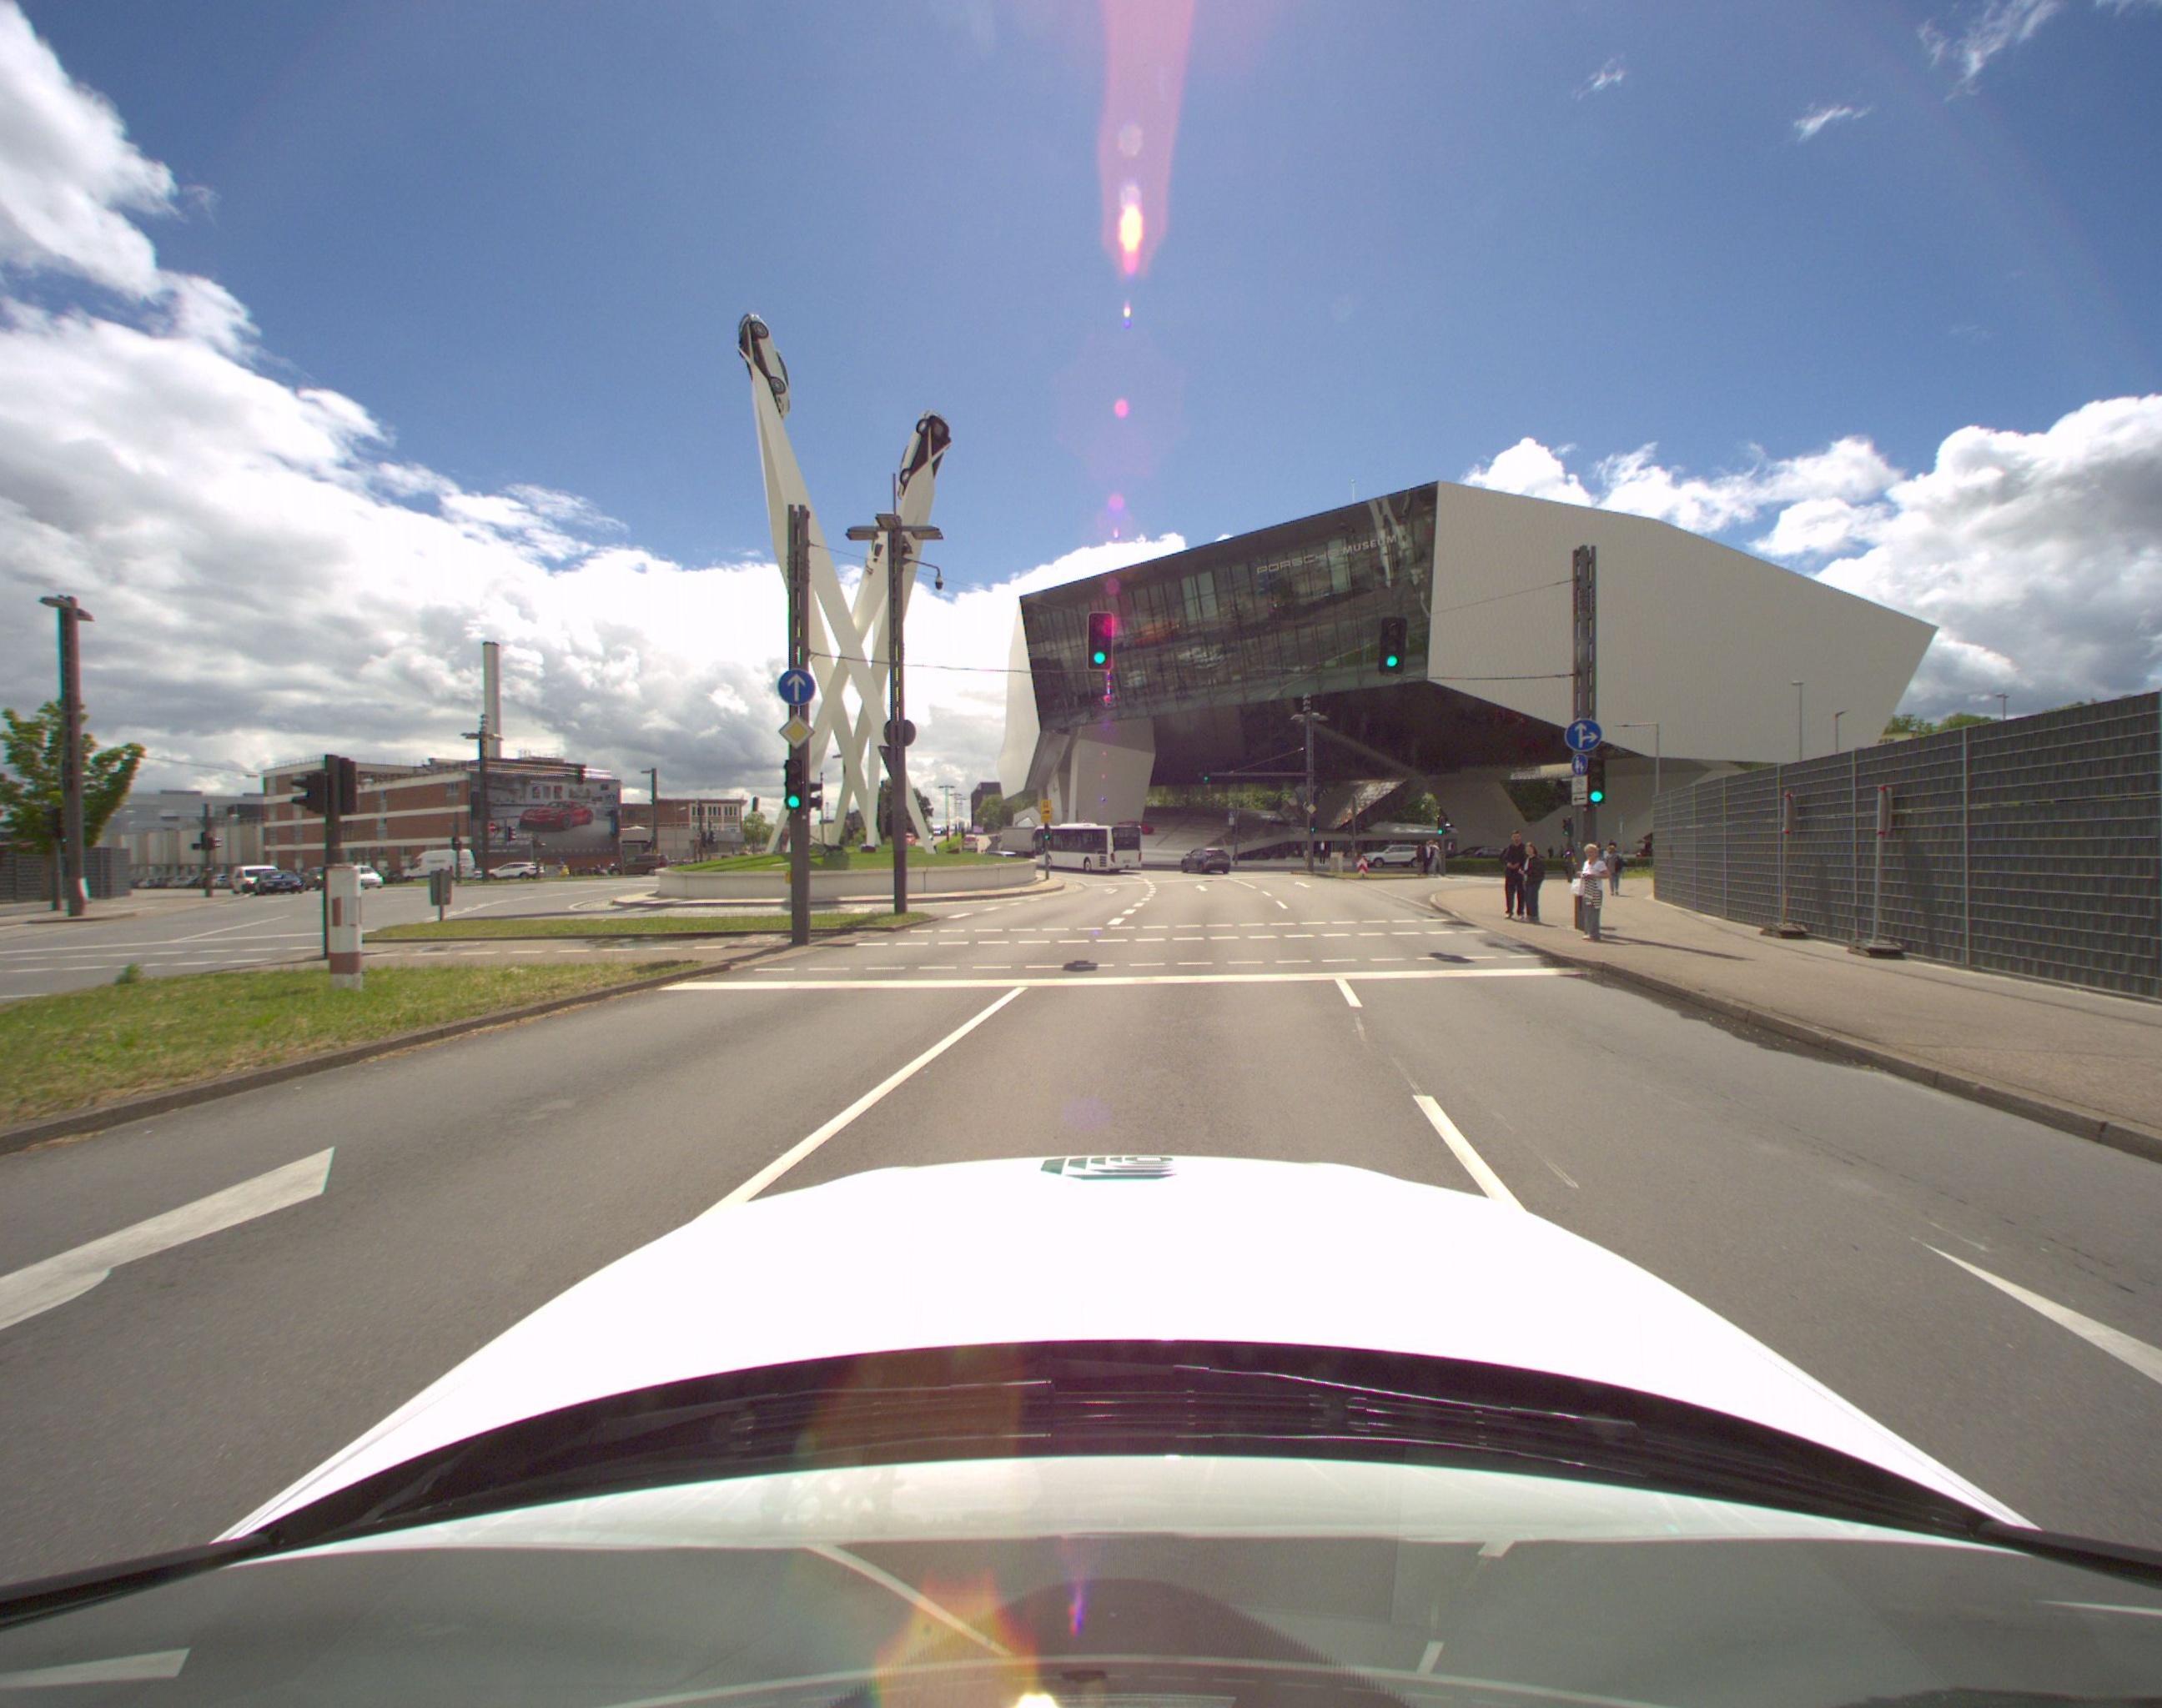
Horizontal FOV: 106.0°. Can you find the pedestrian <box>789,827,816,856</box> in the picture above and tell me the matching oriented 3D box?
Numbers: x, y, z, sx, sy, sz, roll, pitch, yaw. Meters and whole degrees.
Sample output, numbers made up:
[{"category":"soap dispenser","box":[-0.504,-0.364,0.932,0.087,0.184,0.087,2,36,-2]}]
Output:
[{"category":"pedestrian","box":[-14.578,-0.641,42.680,0.846,1.407,0.969,-7,-3,15]}]

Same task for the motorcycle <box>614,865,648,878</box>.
[{"category":"motorcycle","box":[-43.172,1.670,78.144,2.884,1.196,0.923,0,-1,11]}]

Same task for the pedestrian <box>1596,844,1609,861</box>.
[{"category":"pedestrian","box":[53.331,-0.162,83.279,0.829,1.739,0.770,1,-1,-26]}]

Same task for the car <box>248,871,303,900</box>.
[{"category":"car","box":[-46.954,1.817,47.470,3.907,1.556,1.814,0,-1,39]}]

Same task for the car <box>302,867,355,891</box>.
[{"category":"car","box":[-52.128,1.693,56.378,4.170,1.556,1.837,0,-1,35]}]

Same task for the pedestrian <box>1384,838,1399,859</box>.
[{"category":"pedestrian","box":[27.552,-0.506,72.255,0.829,1.826,0.918,1,-1,-16]}]

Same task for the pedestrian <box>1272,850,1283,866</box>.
[{"category":"pedestrian","box":[19.560,0.399,81.016,0.913,1.573,0.834,0,-1,19]}]

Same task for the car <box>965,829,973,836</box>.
[{"category":"car","box":[-29.213,-5.652,212.831,1.991,1.635,4.647,1,1,-5]}]

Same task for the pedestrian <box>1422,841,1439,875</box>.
[{"category":"pedestrian","box":[18.404,0.217,42.919,0.664,1.795,0.624,0,-1,39]}]

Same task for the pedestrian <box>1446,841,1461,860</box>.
[{"category":"pedestrian","box":[32.744,-0.308,71.626,0.829,1.676,0.918,1,-1,-16]}]

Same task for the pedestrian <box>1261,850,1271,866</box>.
[{"category":"pedestrian","box":[18.747,0.410,82.459,0.821,1.573,0.928,0,-1,20]}]

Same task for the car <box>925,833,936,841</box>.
[{"category":"car","box":[-29.275,-3.313,158.170,1.753,1.397,4.665,1,3,-6]}]

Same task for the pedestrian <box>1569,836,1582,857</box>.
[{"category":"pedestrian","box":[49.093,-0.750,80.908,0.829,2.014,0.770,1,-1,-26]}]

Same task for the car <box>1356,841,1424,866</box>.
[{"category":"car","box":[21.276,-0.031,56.143,3.975,1.550,1.837,-2,-1,-1]}]

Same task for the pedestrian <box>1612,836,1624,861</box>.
[{"category":"pedestrian","box":[44.269,-0.463,67.112,0.767,2.014,0.833,0,-1,31]}]

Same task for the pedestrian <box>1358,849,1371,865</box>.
[{"category":"pedestrian","box":[28.075,0.340,80.667,0.828,1.573,0.920,1,-1,-10]}]

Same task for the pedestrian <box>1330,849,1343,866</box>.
[{"category":"pedestrian","box":[25.269,0.351,80.523,0.829,1.573,0.918,1,-1,-16]}]

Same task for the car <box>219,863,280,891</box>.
[{"category":"car","box":[-51.204,1.383,50.117,4.236,1.624,2.013,0,-1,36]}]

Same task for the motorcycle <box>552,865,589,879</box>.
[{"category":"motorcycle","box":[-45.299,1.572,72.263,2.884,1.196,0.923,0,-1,11]}]

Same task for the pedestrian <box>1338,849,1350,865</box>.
[{"category":"pedestrian","box":[26.230,0.316,81.248,0.829,1.573,0.918,1,-1,-16]}]

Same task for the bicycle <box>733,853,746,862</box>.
[{"category":"bicycle","box":[-34.383,0.340,81.984,0.489,0.866,1.613,-1,0,4]}]

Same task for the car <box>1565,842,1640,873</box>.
[{"category":"car","box":[29.360,0.228,45.873,4.012,1.702,1.981,1,-1,-31]}]

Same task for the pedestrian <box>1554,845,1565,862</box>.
[{"category":"pedestrian","box":[50.920,-0.041,86.670,0.832,1.739,0.768,1,-1,-40]}]

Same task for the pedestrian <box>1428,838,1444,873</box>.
[{"category":"pedestrian","box":[18.946,0.089,43.446,0.664,1.847,0.624,0,-1,37]}]

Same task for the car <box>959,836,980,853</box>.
[{"category":"car","box":[-13.400,-1.118,97.696,1.998,1.904,3.977,1,-1,-17]}]

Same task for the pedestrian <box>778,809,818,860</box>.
[{"category":"pedestrian","box":[-10.900,-0.771,31.376,1.287,1.815,0.979,-5,7,-23]}]

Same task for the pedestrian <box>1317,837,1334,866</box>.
[{"category":"pedestrian","box":[17.490,-0.189,58.324,0.948,1.984,1.385,0,2,9]}]

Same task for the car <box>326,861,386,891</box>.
[{"category":"car","box":[-45.503,1.328,51.117,3.727,1.797,1.924,0,-1,34]}]

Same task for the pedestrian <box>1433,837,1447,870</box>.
[{"category":"pedestrian","box":[19.518,-0.019,44.283,0.599,1.759,0.624,0,-1,39]}]

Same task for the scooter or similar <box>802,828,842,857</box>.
[{"category":"scooter or similar","box":[-10.114,-0.456,31.840,1.407,1.025,0.545,-2,6,-26]}]

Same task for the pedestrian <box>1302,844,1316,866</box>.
[{"category":"pedestrian","box":[15.541,0.051,55.553,0.586,1.496,0.763,1,-1,-40]}]

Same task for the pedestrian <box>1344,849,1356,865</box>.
[{"category":"pedestrian","box":[26.536,0.325,80.343,0.829,1.573,0.918,1,-1,-16]}]

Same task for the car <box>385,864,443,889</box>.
[{"category":"car","box":[-44.128,1.481,53.850,3.948,1.577,2.013,0,-1,36]}]

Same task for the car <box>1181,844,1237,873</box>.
[{"category":"car","box":[8.054,0.341,51.619,1.997,1.636,3.980,-3,-1,-14]}]

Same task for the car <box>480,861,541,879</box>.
[{"category":"car","box":[-47.996,1.343,68.506,3.959,1.501,2.007,0,-1,13]}]

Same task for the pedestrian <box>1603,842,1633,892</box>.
[{"category":"pedestrian","box":[17.331,0.424,26.301,0.687,1.586,0.926,0,-1,25]}]

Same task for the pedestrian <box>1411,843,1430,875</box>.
[{"category":"pedestrian","box":[17.658,0.284,42.340,0.675,1.638,0.613,1,-1,-34]}]

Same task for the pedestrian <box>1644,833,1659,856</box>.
[{"category":"pedestrian","box":[50.374,-0.844,71.868,0.829,2.014,0.770,1,-1,-26]}]

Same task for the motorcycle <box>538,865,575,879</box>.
[{"category":"motorcycle","box":[-45.674,1.567,70.922,2.884,1.196,0.923,0,-1,11]}]

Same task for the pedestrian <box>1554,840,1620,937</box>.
[{"category":"pedestrian","box":[8.653,0.577,13.956,0.656,1.608,0.824,0,-1,4]}]

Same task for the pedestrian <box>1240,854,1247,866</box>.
[{"category":"pedestrian","box":[17.513,0.622,87.635,0.554,1.253,0.477,0,-1,33]}]

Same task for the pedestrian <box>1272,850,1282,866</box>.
[{"category":"pedestrian","box":[19.768,0.415,82.187,0.912,1.573,0.835,0,-1,21]}]

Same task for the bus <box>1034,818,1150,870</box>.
[{"category":"bus","box":[0.433,-0.602,58.735,3.088,3.362,12.114,1,-1,-27]}]

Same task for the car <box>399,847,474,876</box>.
[{"category":"car","box":[-49.742,0.602,62.873,4.608,2.171,2.007,0,-1,13]}]

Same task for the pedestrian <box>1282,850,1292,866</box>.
[{"category":"pedestrian","box":[20.640,0.414,81.613,0.786,1.573,0.697,-1,-1,44]}]

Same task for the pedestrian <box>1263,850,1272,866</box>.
[{"category":"pedestrian","box":[18.651,0.392,81.426,0.821,1.573,0.927,0,-1,15]}]

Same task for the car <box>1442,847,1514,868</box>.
[{"category":"car","box":[27.347,0.219,56.141,4.146,1.383,1.832,0,1,-11]}]

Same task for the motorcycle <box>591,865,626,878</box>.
[{"category":"motorcycle","box":[-43.955,1.618,75.700,2.884,1.196,0.923,0,-1,11]}]

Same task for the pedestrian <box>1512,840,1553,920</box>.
[{"category":"pedestrian","box":[9.292,0.527,16.781,0.463,1.616,0.662,1,-1,-5]}]

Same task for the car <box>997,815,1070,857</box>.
[{"category":"car","box":[-4.459,-1.468,74.073,3.352,3.504,9.262,1,-1,-26]}]

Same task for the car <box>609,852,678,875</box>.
[{"category":"car","box":[-32.733,0.703,61.017,3.975,1.637,1.999,0,-1,-1]}]

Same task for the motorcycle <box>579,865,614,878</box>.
[{"category":"motorcycle","box":[-44.422,1.620,74.669,2.884,1.196,0.923,0,-1,11]}]

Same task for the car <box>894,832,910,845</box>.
[{"category":"car","box":[-28.555,-2.407,129.886,1.999,1.983,4.808,-2,2,-18]}]

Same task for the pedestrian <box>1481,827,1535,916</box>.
[{"category":"pedestrian","box":[9.151,0.371,17.451,0.662,1.866,0.788,1,-1,-21]}]

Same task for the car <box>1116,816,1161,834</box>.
[{"category":"car","box":[6.254,-3.181,88.405,4.457,1.394,2.013,8,9,39]}]
